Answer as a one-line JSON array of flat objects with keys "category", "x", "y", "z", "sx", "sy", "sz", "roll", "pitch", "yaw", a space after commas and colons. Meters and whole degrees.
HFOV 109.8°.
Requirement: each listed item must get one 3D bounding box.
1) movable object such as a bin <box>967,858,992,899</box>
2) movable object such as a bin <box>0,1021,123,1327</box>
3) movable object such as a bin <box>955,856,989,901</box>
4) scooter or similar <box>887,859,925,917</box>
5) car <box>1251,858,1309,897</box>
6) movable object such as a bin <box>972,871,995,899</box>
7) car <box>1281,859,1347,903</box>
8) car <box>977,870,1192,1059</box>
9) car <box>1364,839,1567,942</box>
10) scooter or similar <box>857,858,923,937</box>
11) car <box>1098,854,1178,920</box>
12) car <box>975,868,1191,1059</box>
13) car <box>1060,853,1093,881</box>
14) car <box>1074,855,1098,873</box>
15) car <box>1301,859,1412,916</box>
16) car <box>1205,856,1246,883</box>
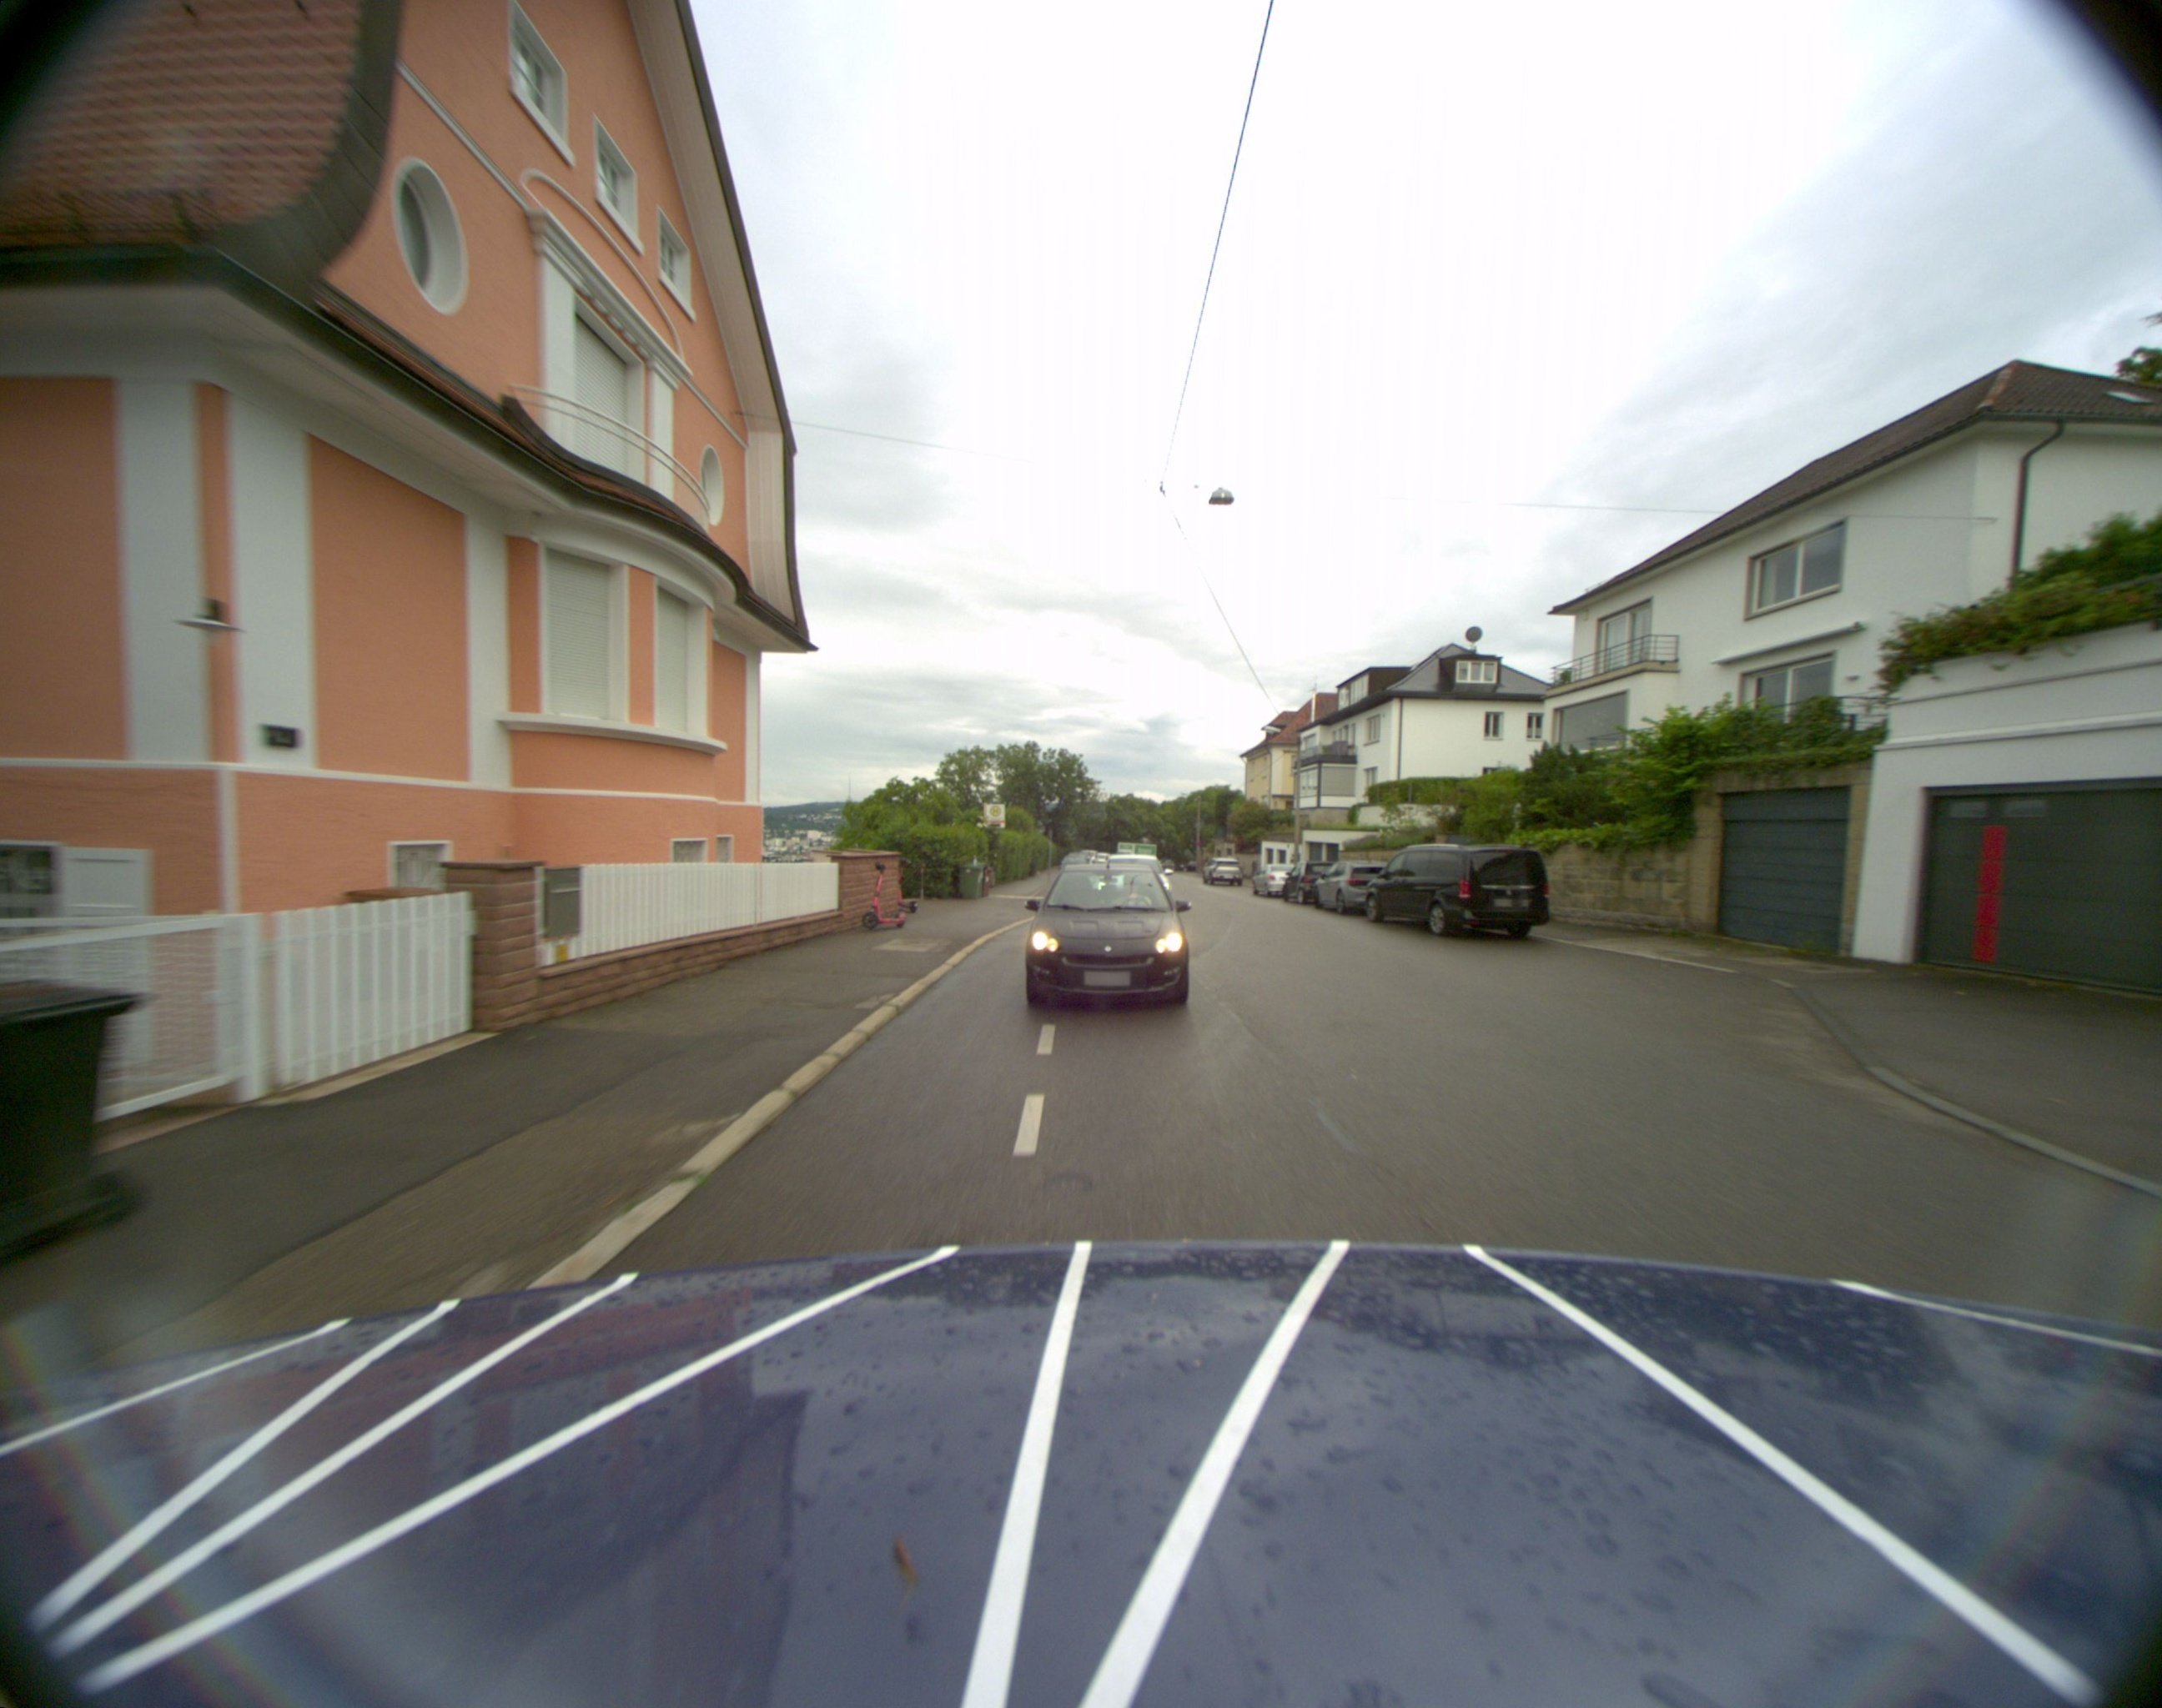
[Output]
[{"category": "movable object such as a bin", "x": -3.110, "y": 0.737, "z": 23.282, "sx": 0.613, "sy": 1.239, "sz": 0.684, "roll": 0, "pitch": 1, "yaw": 4}, {"category": "movable object such as a bin", "x": -3.773, "y": 1.075, "z": 2.523, "sx": 0.533, "sy": 0.913, "sz": 0.488, "roll": 3, "pitch": 1, "yaw": -2}, {"category": "movable object such as a bin", "x": -3.215, "y": 0.708, "z": 22.462, "sx": 0.726, "sy": 1.239, "sz": 0.917, "roll": 4, "pitch": 1, "yaw": 4}, {"category": "scooter or similar", "x": -4.131, "y": 0.777, "z": 17.904, "sx": 0.357, "sy": 1.265, "sz": 1.290, "roll": -1, "pitch": 3, "yaw": -38}, {"category": "car", "x": 8.343, "y": 0.952, "z": 32.085, "sx": 1.594, "sy": 1.482, "sz": 3.437, "roll": -1, "pitch": 0, "yaw": 1}, {"category": "movable object such as a bin", "x": -3.058, "y": 0.964, "z": 23.938, "sx": 0.613, "sy": 0.858, "sz": 0.590, "roll": 0, "pitch": 1, "yaw": 4}, {"category": "car", "x": 8.362, "y": 0.942, "z": 27.502, "sx": 1.521, "sy": 1.482, "sz": 2.894, "roll": -1, "pitch": 0, "yaw": 1}, {"category": "car", "x": 0.294, "y": 0.953, "z": 8.353, "sx": 1.710, "sy": 1.414, "sz": 4.003, "roll": 0, "pitch": 1, "yaw": 10}, {"category": "car", "x": 8.285, "y": 0.696, "z": 16.985, "sx": 1.999, "sy": 1.945, "sz": 4.773, "roll": 0, "pitch": 0, "yaw": -2}, {"category": "scooter or similar", "x": -3.609, "y": 0.795, "z": 14.479, "sx": 0.355, "sy": 1.394, "sz": 1.480, "roll": 1, "pitch": 1, "yaw": 25}, {"category": "car", "x": 1.438, "y": 0.809, "z": 20.714, "sx": 1.928, "sy": 1.577, "sz": 4.000, "roll": 0, "pitch": 1, "yaw": 1}, {"category": "car", "x": 0.279, "y": 0.956, "z": 8.337, "sx": 1.695, "sy": 1.482, "sz": 3.943, "roll": -1, "pitch": 0, "yaw": 10}, {"category": "car", "x": -0.237, "y": 0.760, "z": 45.818, "sx": 1.928, "sy": 1.577, "sz": 4.000, "roll": 0, "pitch": 1, "yaw": 1}, {"category": "car", "x": 0.449, "y": 0.805, "z": 63.437, "sx": 1.928, "sy": 1.447, "sz": 4.000, "roll": 0, "pitch": 1, "yaw": 1}, {"category": "car", "x": 8.202, "y": 0.939, "z": 23.034, "sx": 1.696, "sy": 1.482, "sz": 4.402, "roll": -1, "pitch": 0, "yaw": -1}, {"category": "car", "x": 8.473, "y": 0.865, "z": 44.857, "sx": 1.868, "sy": 1.492, "sz": 4.000, "roll": 0, "pitch": 1, "yaw": 3}]
